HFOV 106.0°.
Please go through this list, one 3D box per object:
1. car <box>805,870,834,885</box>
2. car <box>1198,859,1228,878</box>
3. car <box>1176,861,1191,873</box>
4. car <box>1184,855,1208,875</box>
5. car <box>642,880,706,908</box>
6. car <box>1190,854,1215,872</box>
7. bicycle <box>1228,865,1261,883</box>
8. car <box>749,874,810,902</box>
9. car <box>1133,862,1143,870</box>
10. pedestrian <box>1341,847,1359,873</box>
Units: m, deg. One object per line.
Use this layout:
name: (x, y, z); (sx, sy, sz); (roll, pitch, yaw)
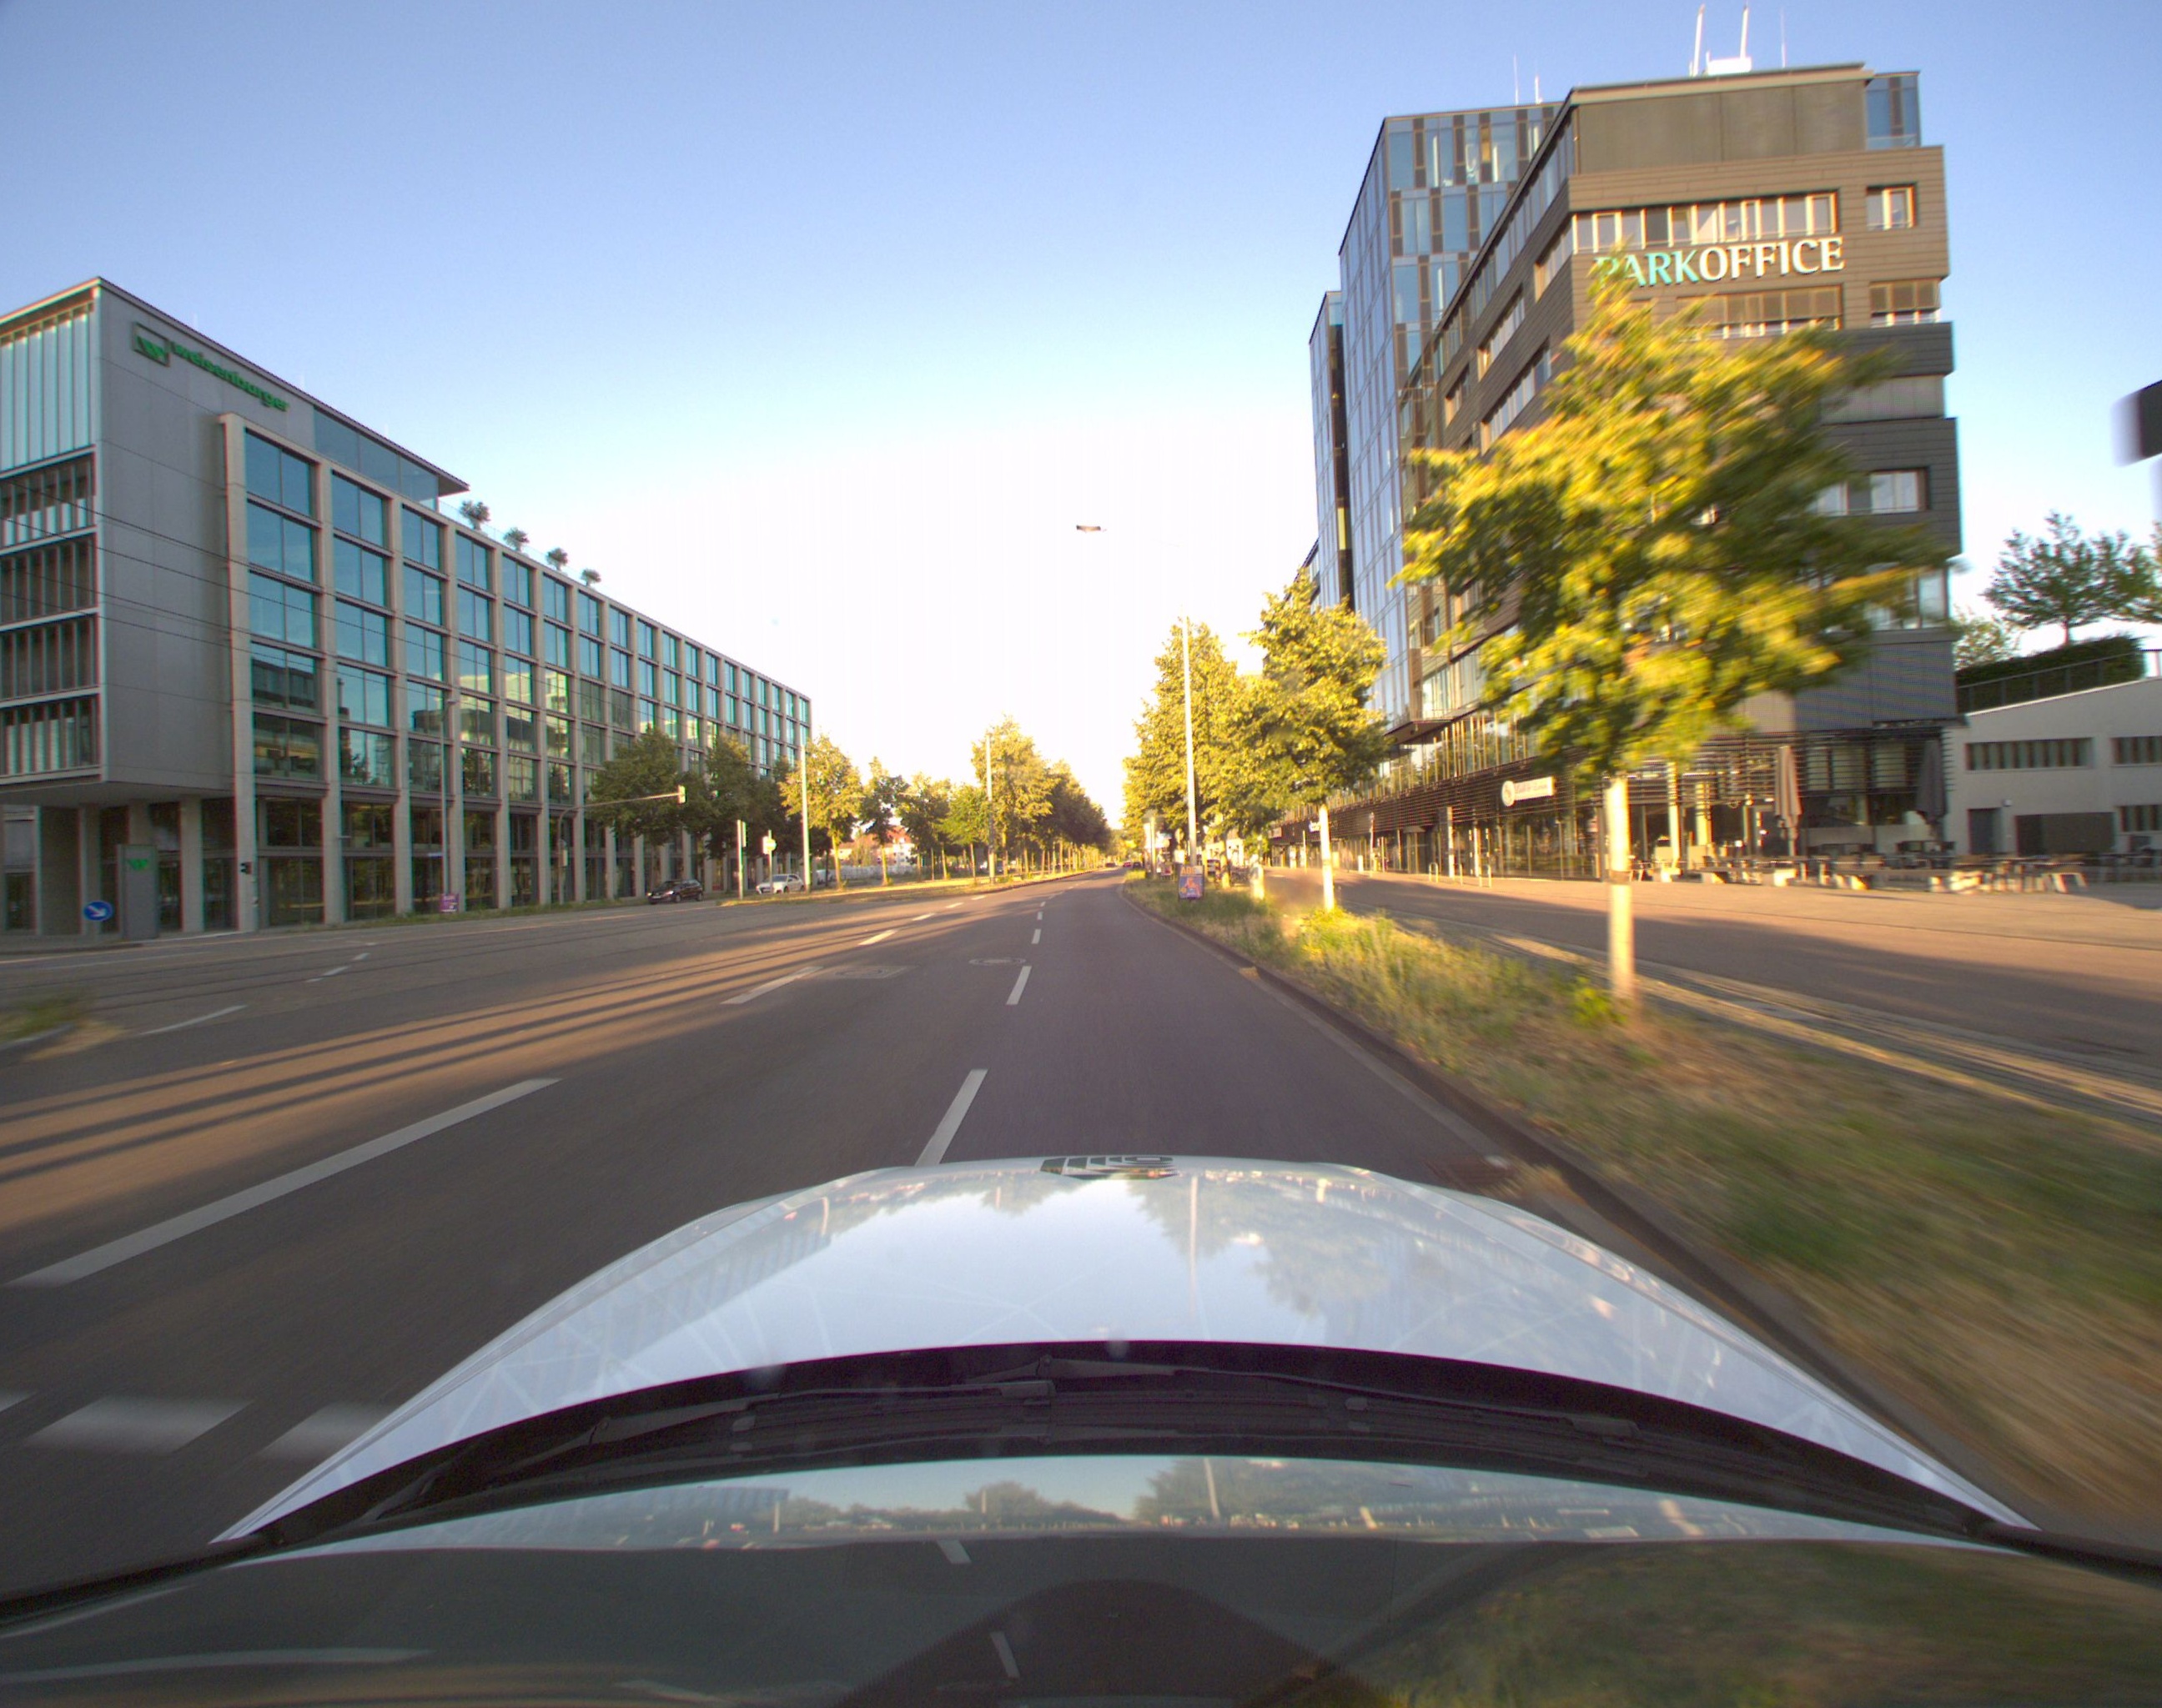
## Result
car: (-39.057, 3.529, 121.776); (2.196, 2.014, 5.089); (-2, -1, 4)
car: (10.982, 1.179, 68.118); (1.910, 1.496, 5.043); (-1, -1, 2)
car: (13.892, 1.764, 110.266); (1.772, 1.494, 4.004); (1, -1, 4)
car: (11.525, 1.104, 81.647); (1.978, 1.989, 4.936); (-1, -1, 3)
car: (-24.285, 2.346, 48.749); (1.634, 1.449, 4.002); (-2, 0, 2)
car: (11.043, 0.811, 74.103); (1.851, 1.496, 4.295); (-2, 0, 4)
bicycle: (8.721, 1.074, 43.590); (1.701, 0.910, 0.364); (-3, -1, 37)
car: (-18.613, 2.064, 50.501); (1.895, 1.485, 4.633); (-2, -1, 2)
car: (11.796, 2.493, 167.717); (1.904, 1.486, 4.003); (-2, -1, 3)
pedestrian: (18.911, 0.415, 57.314); (0.893, 1.797, 0.913); (-2, -1, 2)
